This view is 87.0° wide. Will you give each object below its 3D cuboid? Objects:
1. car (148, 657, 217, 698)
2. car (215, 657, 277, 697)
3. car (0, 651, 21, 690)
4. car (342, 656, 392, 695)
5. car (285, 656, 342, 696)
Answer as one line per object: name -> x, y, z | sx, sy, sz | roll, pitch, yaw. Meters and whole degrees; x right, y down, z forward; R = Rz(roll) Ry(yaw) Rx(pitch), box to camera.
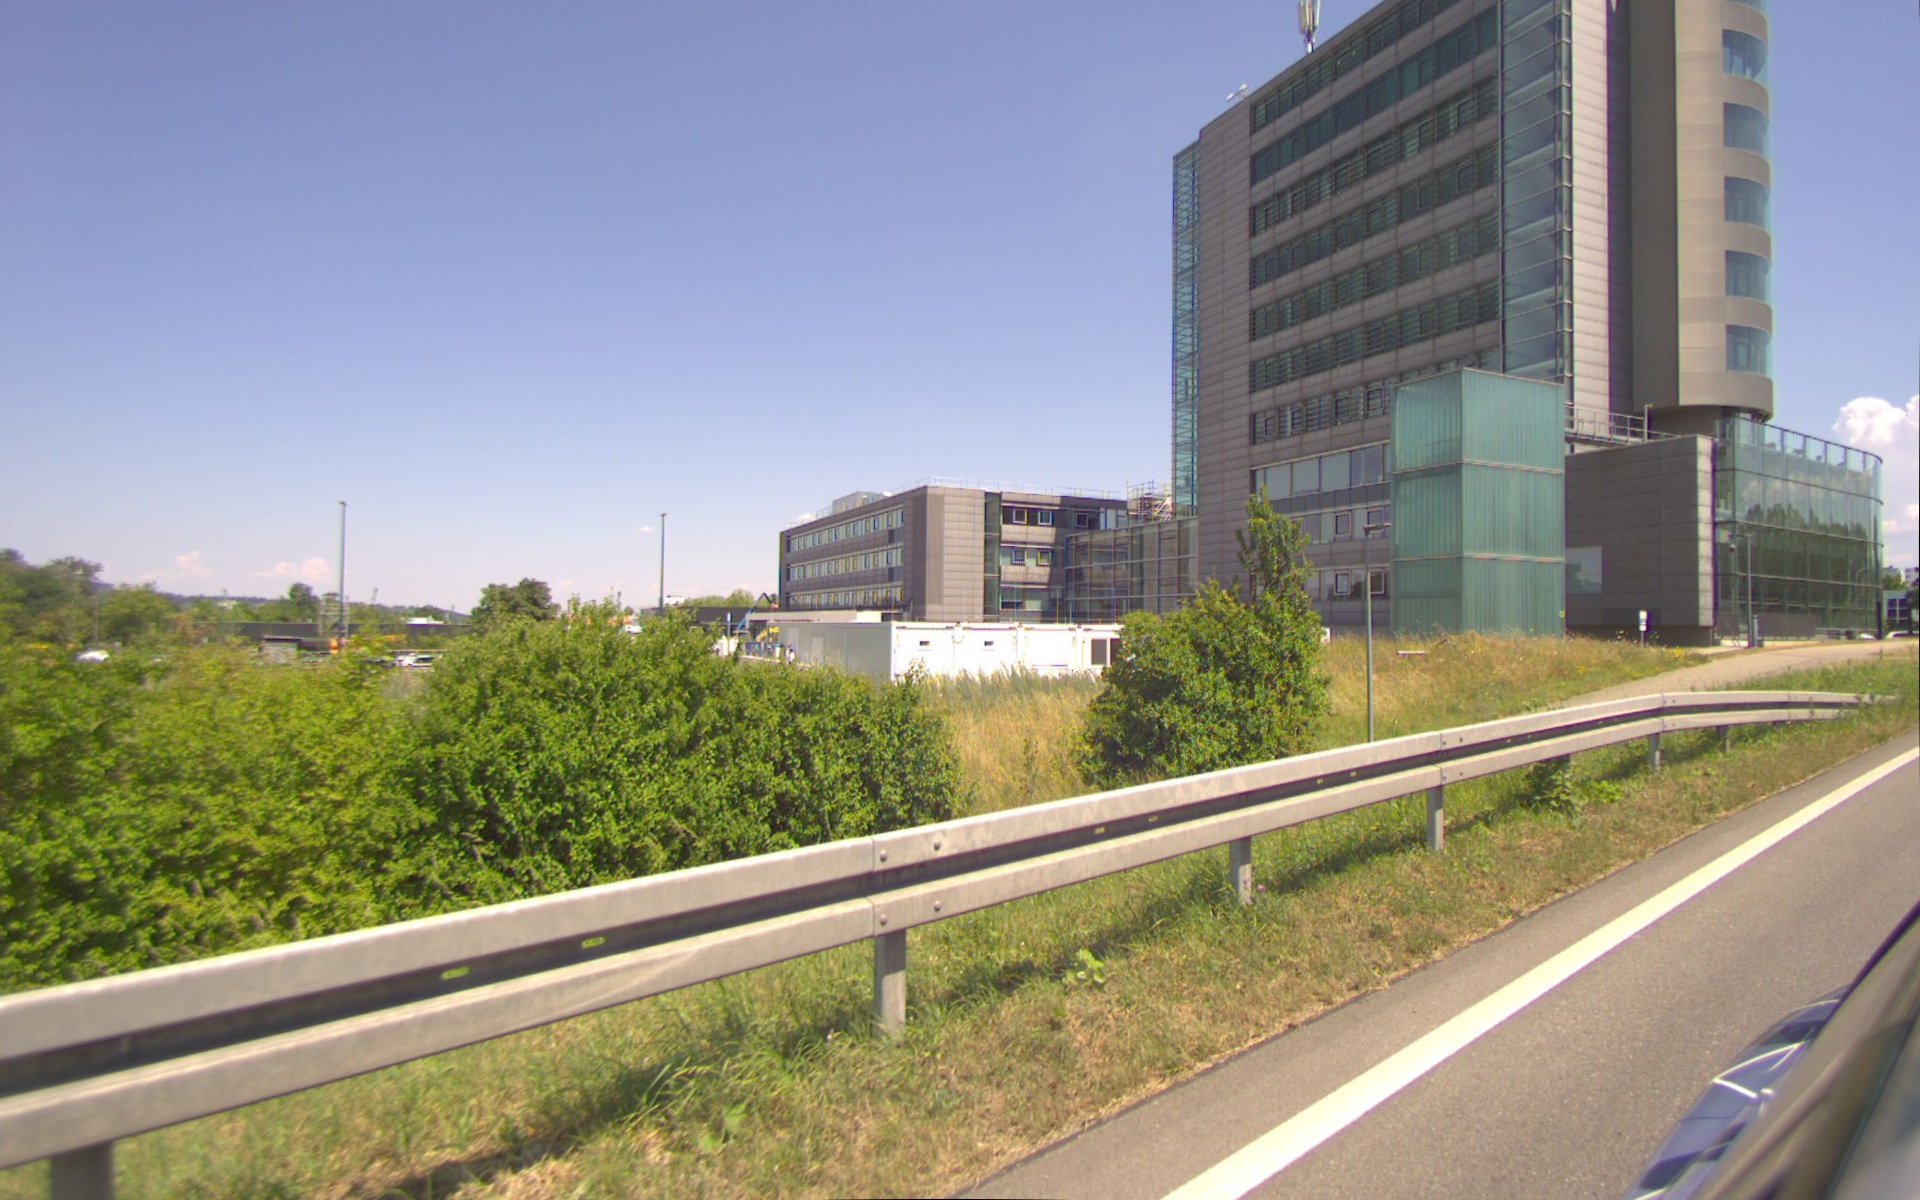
car -> -41.676, 4.114, 54.363 | 1.958, 2.040, 4.006 | 1, -3, -23
car -> -39.116, 4.170, 55.542 | 1.958, 2.040, 4.006 | 1, -3, -23
car -> -50.092, 3.600, 51.574 | 1.958, 1.940, 4.006 | 1, -2, -23
car -> -33.949, 4.289, 58.043 | 1.958, 2.040, 4.006 | 1, -3, -23
car -> -36.337, 4.237, 56.958 | 1.958, 2.040, 4.006 | 1, -2, -22
